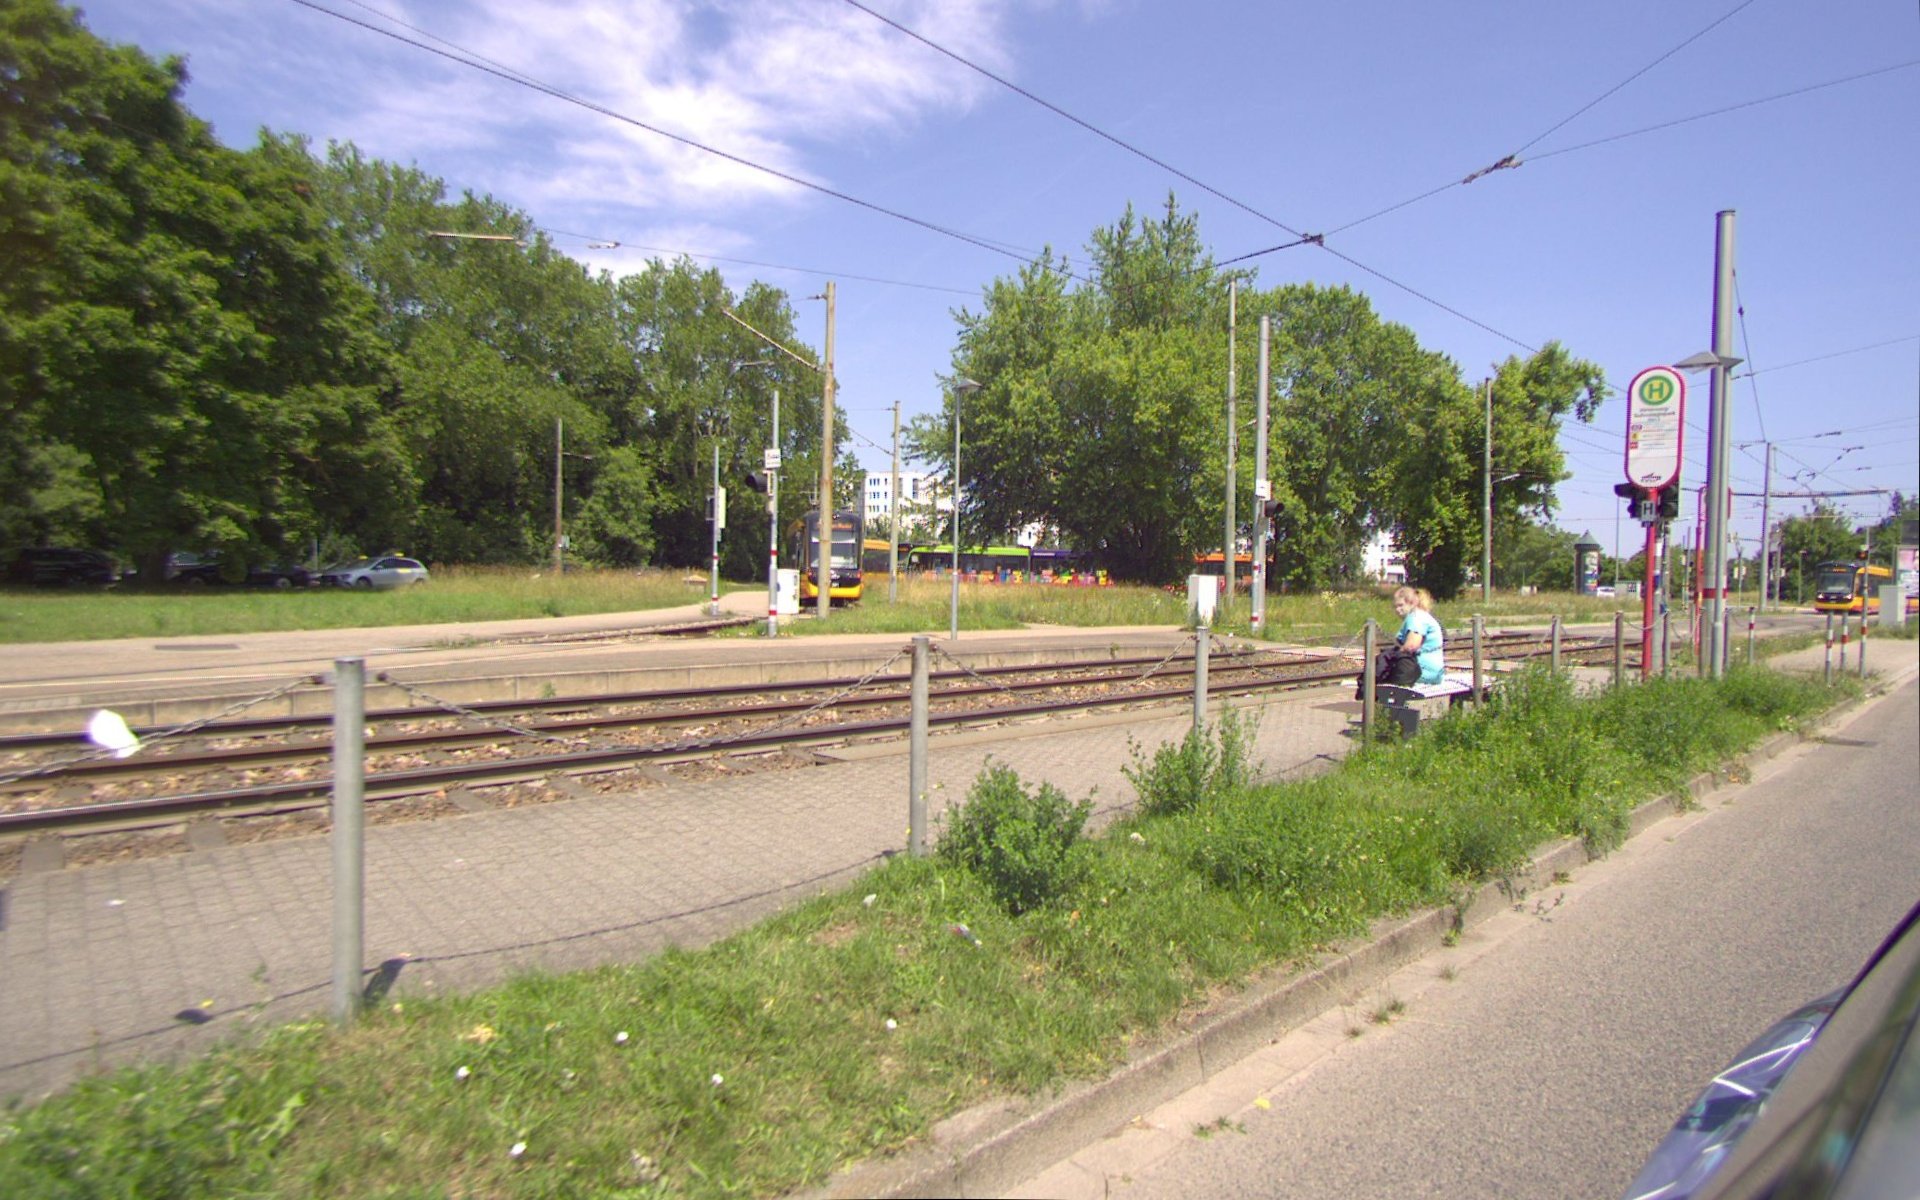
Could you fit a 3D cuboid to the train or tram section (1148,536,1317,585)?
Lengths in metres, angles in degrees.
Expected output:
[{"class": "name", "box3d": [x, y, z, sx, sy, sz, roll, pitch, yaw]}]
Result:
[{"class": "train or tram section", "box3d": [22.058, -3.159, 82.234, 13.080, 3.695, 2.699, 0, 1, 19]}]

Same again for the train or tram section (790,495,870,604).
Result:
[{"class": "train or tram section", "box3d": [-5.399, -1.869, 41.020, 2.660, 3.694, 13.208, -1, 1, -9]}]

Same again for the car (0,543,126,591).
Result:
[{"class": "car", "box3d": [-29.318, -1.053, 32.184, 1.939, 1.440, 3.910, 2, 2, 26]}]

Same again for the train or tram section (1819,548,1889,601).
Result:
[{"class": "train or tram section", "box3d": [59.737, -1.726, 67.564, 7.134, 3.363, 2.523, -1, 3, -41]}]

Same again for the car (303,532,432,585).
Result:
[{"class": "car", "box3d": [-24.353, -1.701, 41.772, 1.939, 2.038, 4.277, 2, 2, 26]}]

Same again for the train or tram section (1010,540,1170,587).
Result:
[{"class": "train or tram section", "box3d": [10.629, -3.002, 82.453, 12.973, 3.694, 2.722, -1, 1, -17]}]

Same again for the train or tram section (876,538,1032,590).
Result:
[{"class": "train or tram section", "box3d": [-0.192, -2.639, 76.263, 13.018, 3.663, 2.713, -1, 2, -40]}]

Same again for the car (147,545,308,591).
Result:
[{"class": "car", "box3d": [-26.786, -1.180, 37.203, 1.688, 1.558, 4.574, 2, 2, 26]}]

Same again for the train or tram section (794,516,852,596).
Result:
[{"class": "train or tram section", "box3d": [-7.438, -2.214, 54.094, 2.660, 3.694, 13.274, -1, 1, -9]}]

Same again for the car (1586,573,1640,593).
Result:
[{"class": "car", "box3d": [54.493, -1.406, 84.442, 3.917, 1.638, 1.857, -1, 1, -22]}]

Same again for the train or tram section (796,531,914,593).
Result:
[{"class": "train or tram section", "box3d": [-6.522, -2.468, 66.289, 2.679, 3.618, 13.181, 2, 2, 17]}]

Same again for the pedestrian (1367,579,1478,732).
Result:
[{"class": "pedestrian", "box3d": [3.661, 0.410, 8.018, 0.611, 1.143, 0.610, -1, 1, -43]}]
